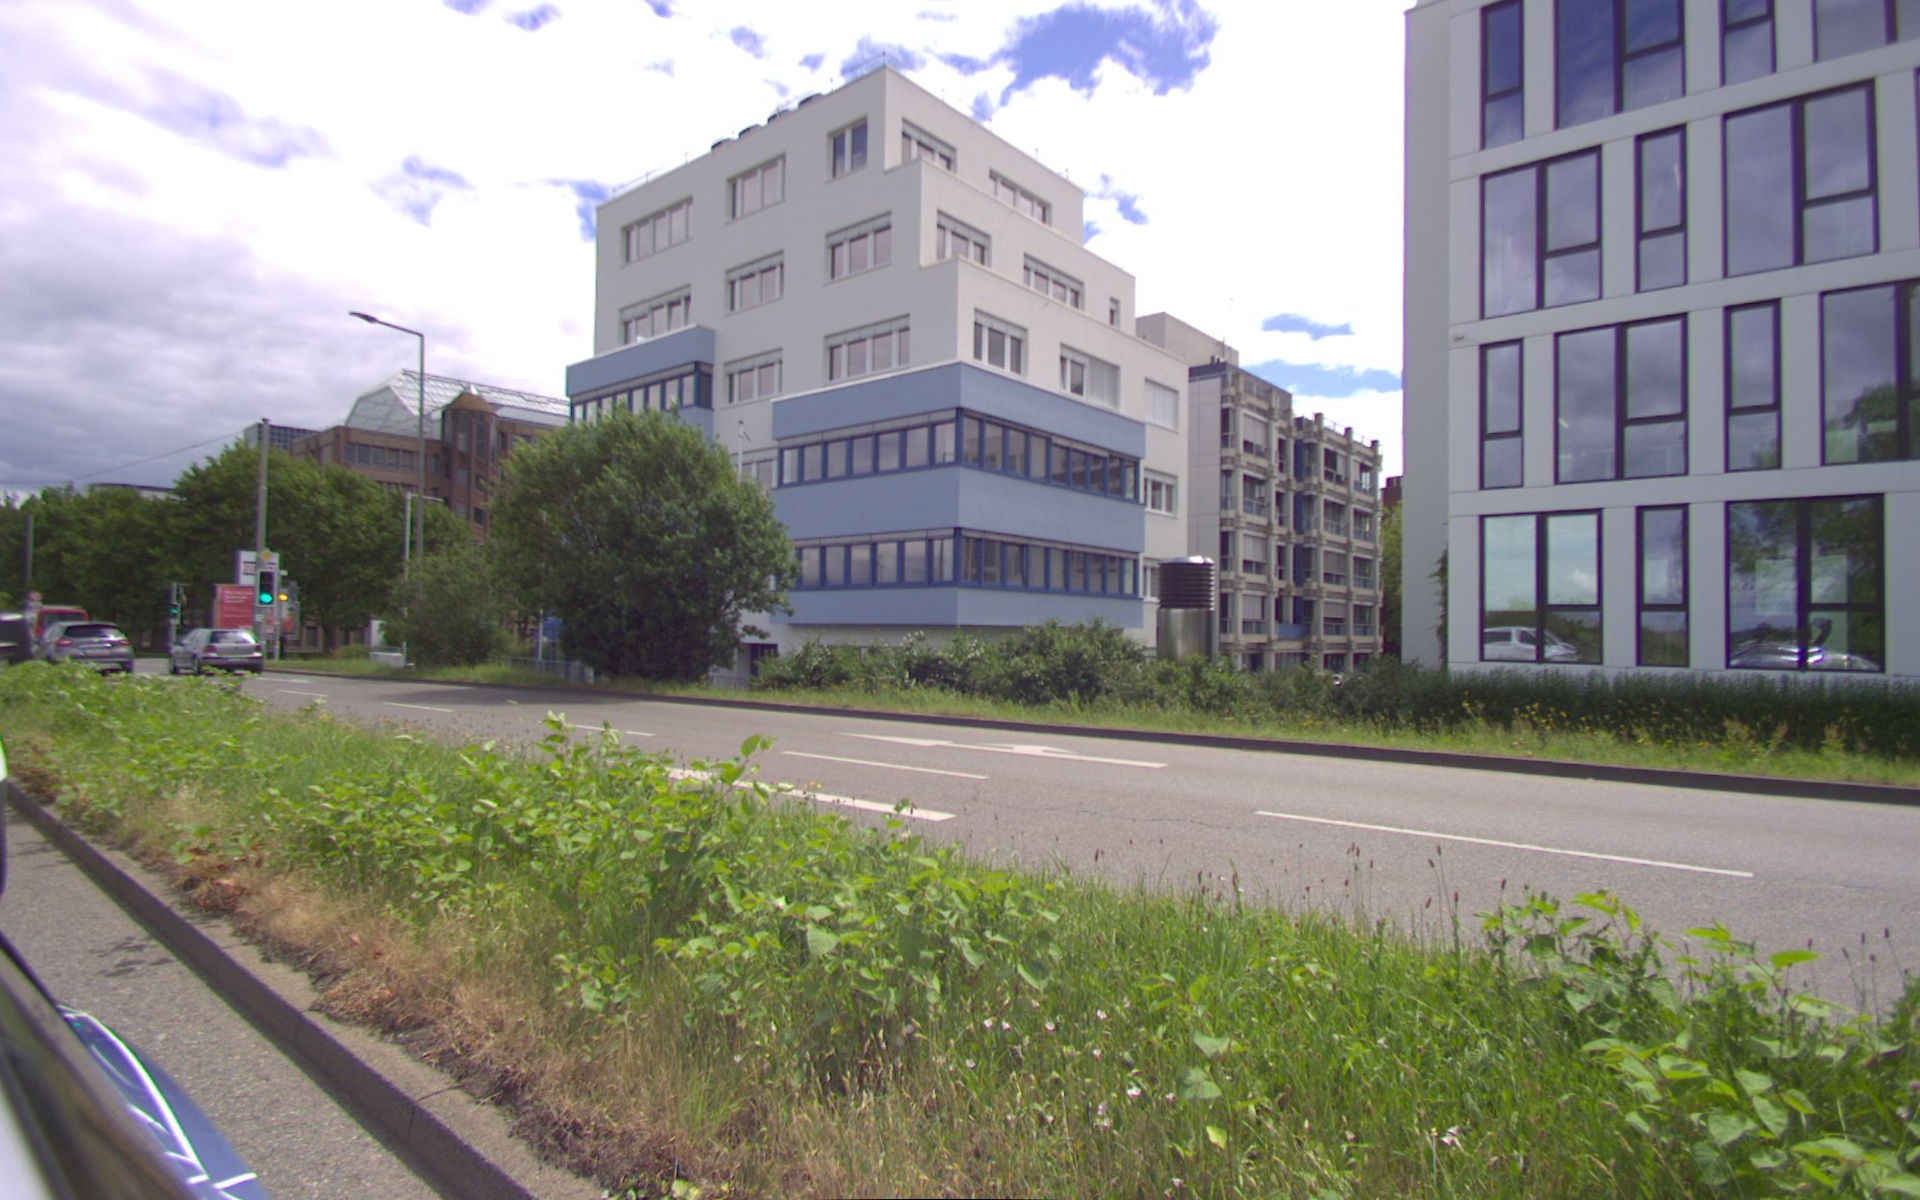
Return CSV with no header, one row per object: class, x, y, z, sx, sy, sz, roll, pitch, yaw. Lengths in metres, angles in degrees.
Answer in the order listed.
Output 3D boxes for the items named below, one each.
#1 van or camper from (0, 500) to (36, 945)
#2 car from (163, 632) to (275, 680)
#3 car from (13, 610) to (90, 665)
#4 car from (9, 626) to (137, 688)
van or camper,-7.203,0.584,5.710,5.791,2.029,1.974,-1,-3,38
car,-23.048,1.696,31.430,3.998,1.364,1.973,-2,-2,41
car,-41.897,1.703,46.629,5.237,2.430,1.973,-1,-2,41
car,-23.833,1.477,27.156,3.995,1.528,1.916,-2,-2,39
